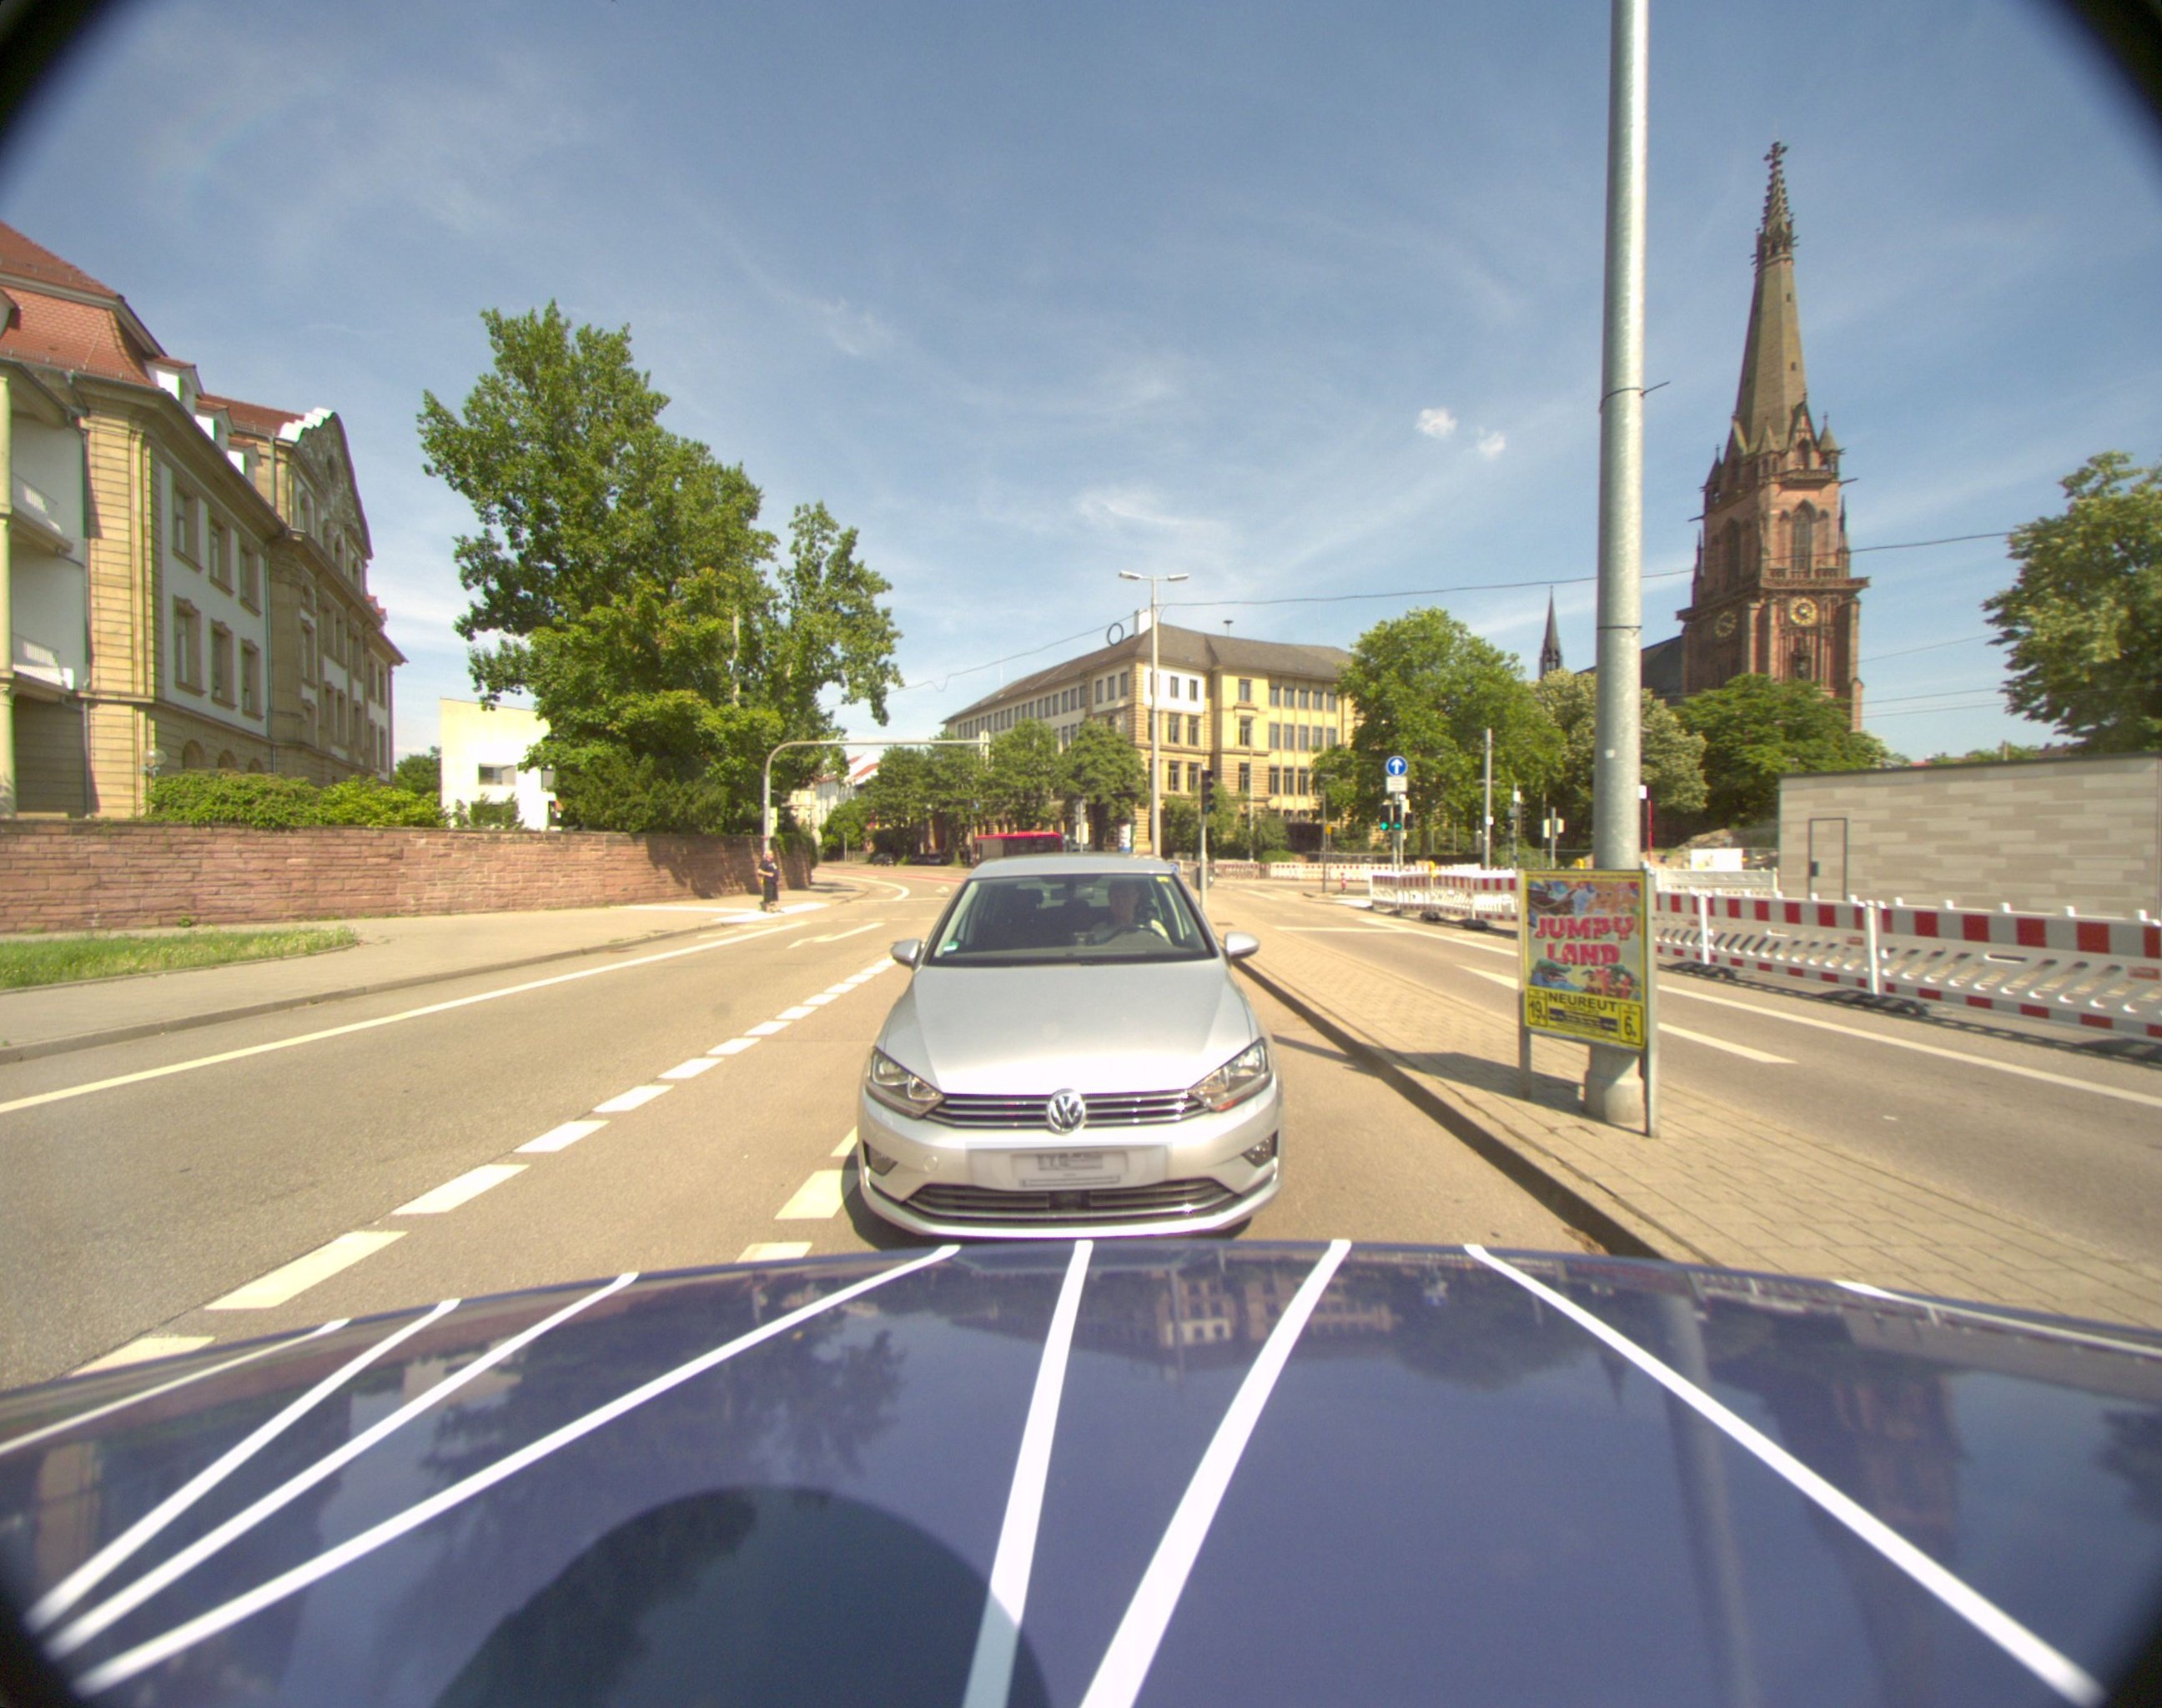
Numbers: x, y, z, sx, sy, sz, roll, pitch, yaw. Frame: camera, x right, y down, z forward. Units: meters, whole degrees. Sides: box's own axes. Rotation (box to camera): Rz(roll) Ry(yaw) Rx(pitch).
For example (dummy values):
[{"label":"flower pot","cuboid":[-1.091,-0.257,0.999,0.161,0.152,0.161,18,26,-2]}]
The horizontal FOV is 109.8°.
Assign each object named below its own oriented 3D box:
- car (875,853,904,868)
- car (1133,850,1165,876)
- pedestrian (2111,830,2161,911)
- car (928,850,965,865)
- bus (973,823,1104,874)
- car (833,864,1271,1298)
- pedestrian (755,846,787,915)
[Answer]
[{"label":"car","cuboid":[-22.119,0.746,87.702,2.003,1.608,3.990,-3,1,-31]},{"label":"car","cuboid":[4.308,0.571,48.510,1.665,1.565,3.632,1,0,0]},{"label":"pedestrian","cuboid":[26.686,0.410,19.019,0.820,2.002,0.686,1,1,3]},{"label":"car","cuboid":[-16.614,0.446,93.707,4.006,1.653,1.994,-3,4,-35]},{"label":"bus","cuboid":[-3.323,-0.298,52.771,3.138,3.076,12.382,-3,1,-34]},{"label":"car","cuboid":[-0.022,0.896,5.009,1.687,1.577,4.152,0,0,3]},{"label":"pedestrian","cuboid":[-9.156,0.781,22.454,0.796,2.002,0.615,0,1,-14]}]
